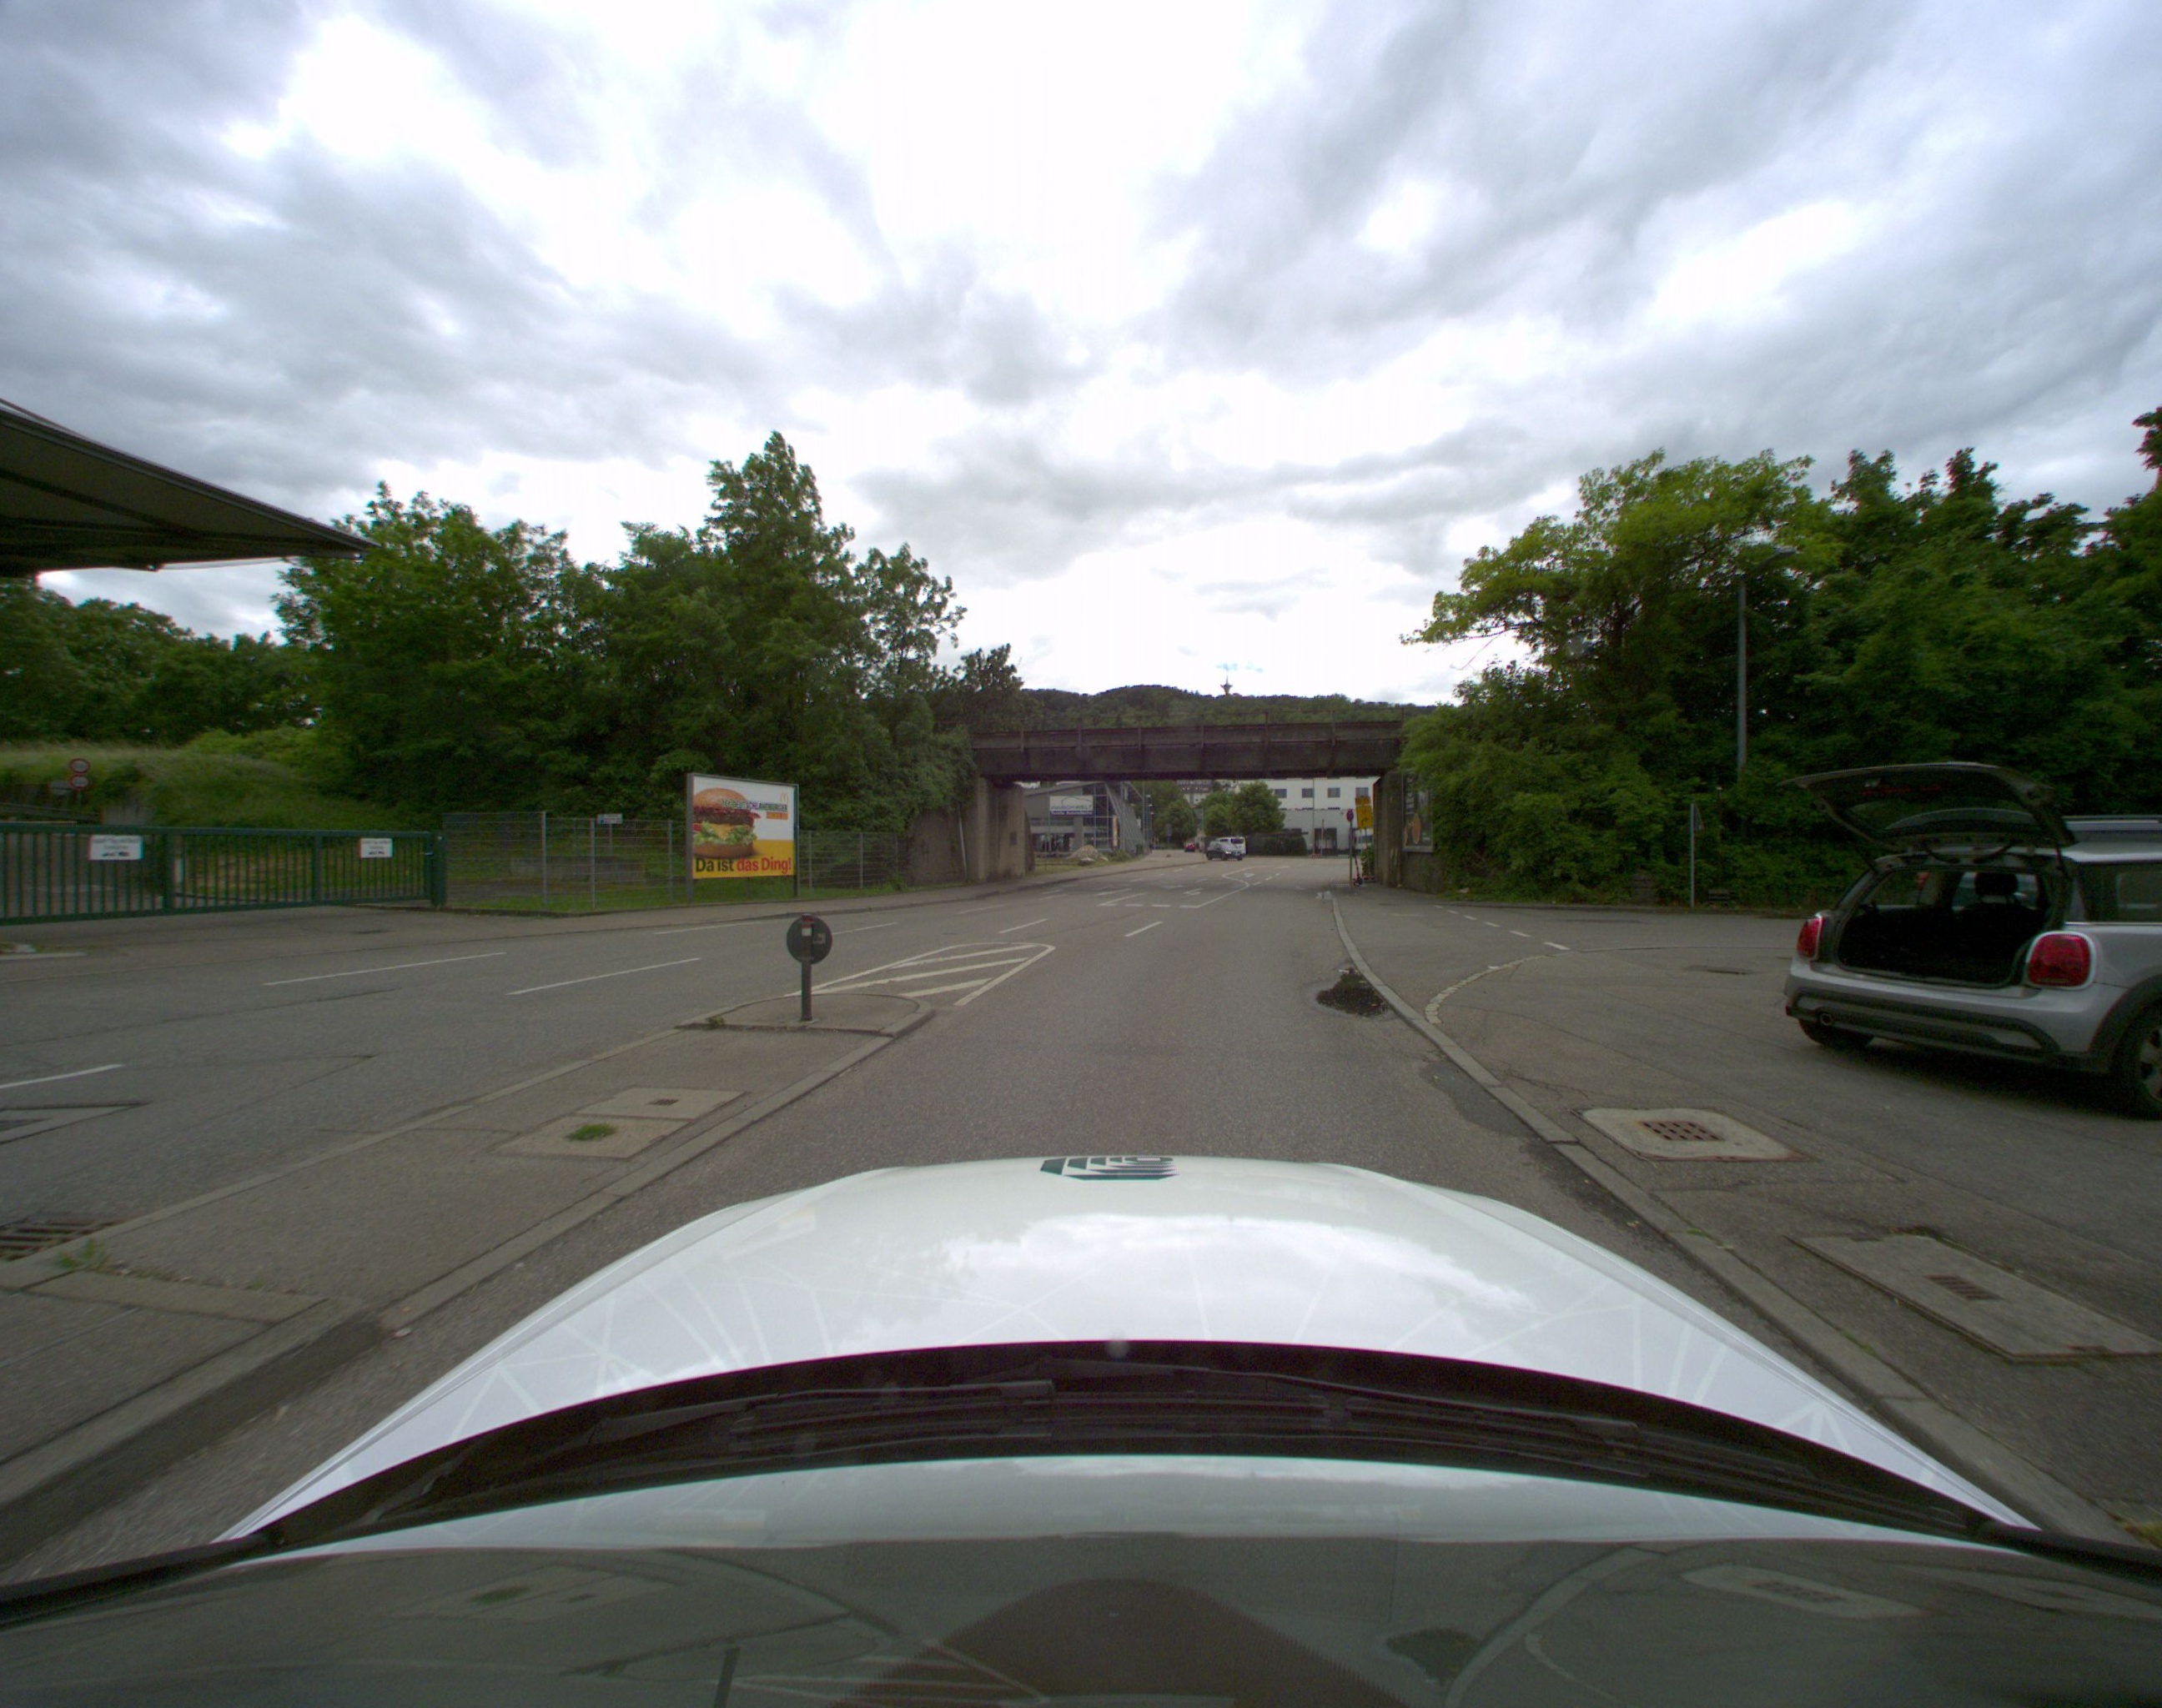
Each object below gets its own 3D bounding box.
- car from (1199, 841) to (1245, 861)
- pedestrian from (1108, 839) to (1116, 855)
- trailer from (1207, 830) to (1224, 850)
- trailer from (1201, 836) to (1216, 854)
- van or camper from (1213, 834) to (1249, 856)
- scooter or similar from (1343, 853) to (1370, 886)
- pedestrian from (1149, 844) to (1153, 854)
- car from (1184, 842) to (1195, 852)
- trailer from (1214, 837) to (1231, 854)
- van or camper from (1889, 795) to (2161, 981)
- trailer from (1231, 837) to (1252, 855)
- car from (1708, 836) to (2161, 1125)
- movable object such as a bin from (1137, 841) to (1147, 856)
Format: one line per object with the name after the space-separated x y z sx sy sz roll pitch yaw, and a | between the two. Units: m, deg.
12.366 -0.230 71.541 2.002 1.684 4.338 0 0 -22 | car
3.628 -0.803 94.337 0.824 1.868 0.717 -1 0 -5 | pedestrian
25.598 -2.753 154.947 3.052 3.759 4.943 0 1 6 | trailer
20.849 -1.540 133.194 2.267 2.953 4.008 0 1 6 | trailer
14.798 -0.862 80.389 2.099 2.083 4.190 0 0 -11 | van or camper
10.784 0.594 31.891 0.502 1.236 1.671 -4 0 3 | scooter or similar
12.004 -0.817 138.985 0.625 1.673 0.759 0 0 3 | pedestrian
20.528 -1.302 153.453 1.982 1.684 4.010 0 0 9 | car
19.220 -1.171 110.825 1.983 2.343 4.008 0 1 6 | trailer
10.805 0.317 7.486 1.837 1.694 4.466 1 0 -27 | van or camper
18.353 -0.965 93.121 1.983 2.013 4.008 0 1 6 | trailer
6.628 0.612 5.315 4.007 1.432 1.780 -1 0 -10 | car
7.215 -0.613 96.562 1.136 1.757 1.061 0 0 8 | movable object such as a bin
